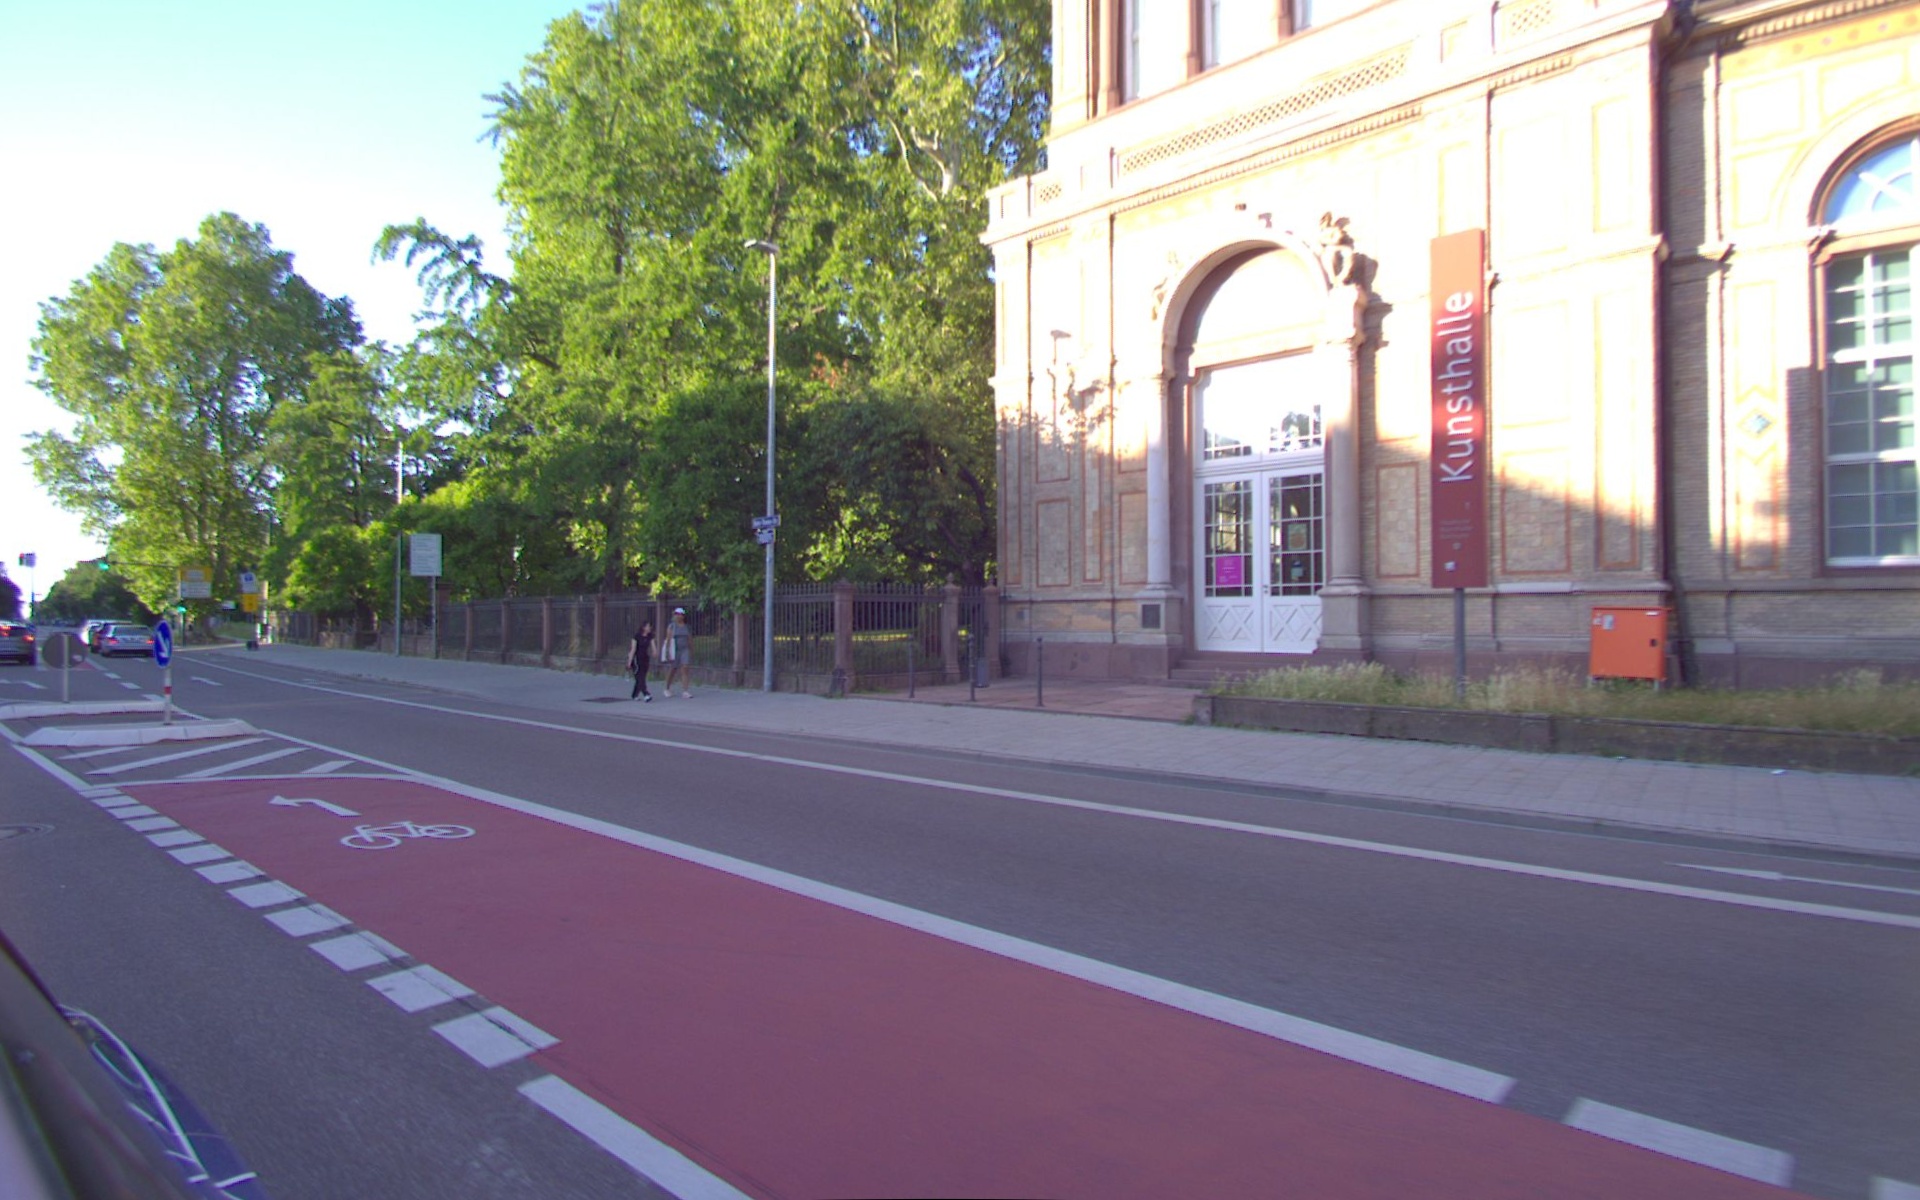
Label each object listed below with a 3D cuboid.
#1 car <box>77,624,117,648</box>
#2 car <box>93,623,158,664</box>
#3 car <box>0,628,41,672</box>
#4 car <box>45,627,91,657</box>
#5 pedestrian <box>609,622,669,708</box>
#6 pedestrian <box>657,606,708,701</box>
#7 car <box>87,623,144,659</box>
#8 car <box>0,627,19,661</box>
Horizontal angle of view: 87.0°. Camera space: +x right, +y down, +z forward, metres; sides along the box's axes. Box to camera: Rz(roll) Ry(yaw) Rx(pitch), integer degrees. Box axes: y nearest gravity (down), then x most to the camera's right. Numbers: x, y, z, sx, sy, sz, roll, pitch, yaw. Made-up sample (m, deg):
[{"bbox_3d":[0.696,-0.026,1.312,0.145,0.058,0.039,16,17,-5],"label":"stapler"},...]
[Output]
[{"bbox_3d":[-63.139,2.619,74.025,1.970,1.697,4.003,1,-1,-43],"label":"car"},{"bbox_3d":[-36.516,1.857,44.249,1.893,1.697,4.003,1,-1,-43],"label":"car"},{"bbox_3d":[-33.610,1.701,35.340,3.998,1.475,1.753,-1,-3,41],"label":"car"},{"bbox_3d":[-54.290,2.534,61.592,1.970,1.697,4.003,1,-1,-43],"label":"car"},{"bbox_3d":[-6.000,1.202,18.896,0.666,1.524,0.836,-4,1,-44],"label":"pedestrian"},{"bbox_3d":[-5.304,1.002,19.314,0.795,1.751,0.852,0,-1,-26],"label":"pedestrian"},{"bbox_3d":[-42.905,2.044,51.399,1.970,1.697,4.003,1,-1,-43],"label":"car"},{"bbox_3d":[-48.993,2.207,51.090,3.895,1.633,1.877,-2,-1,43],"label":"car"}]
